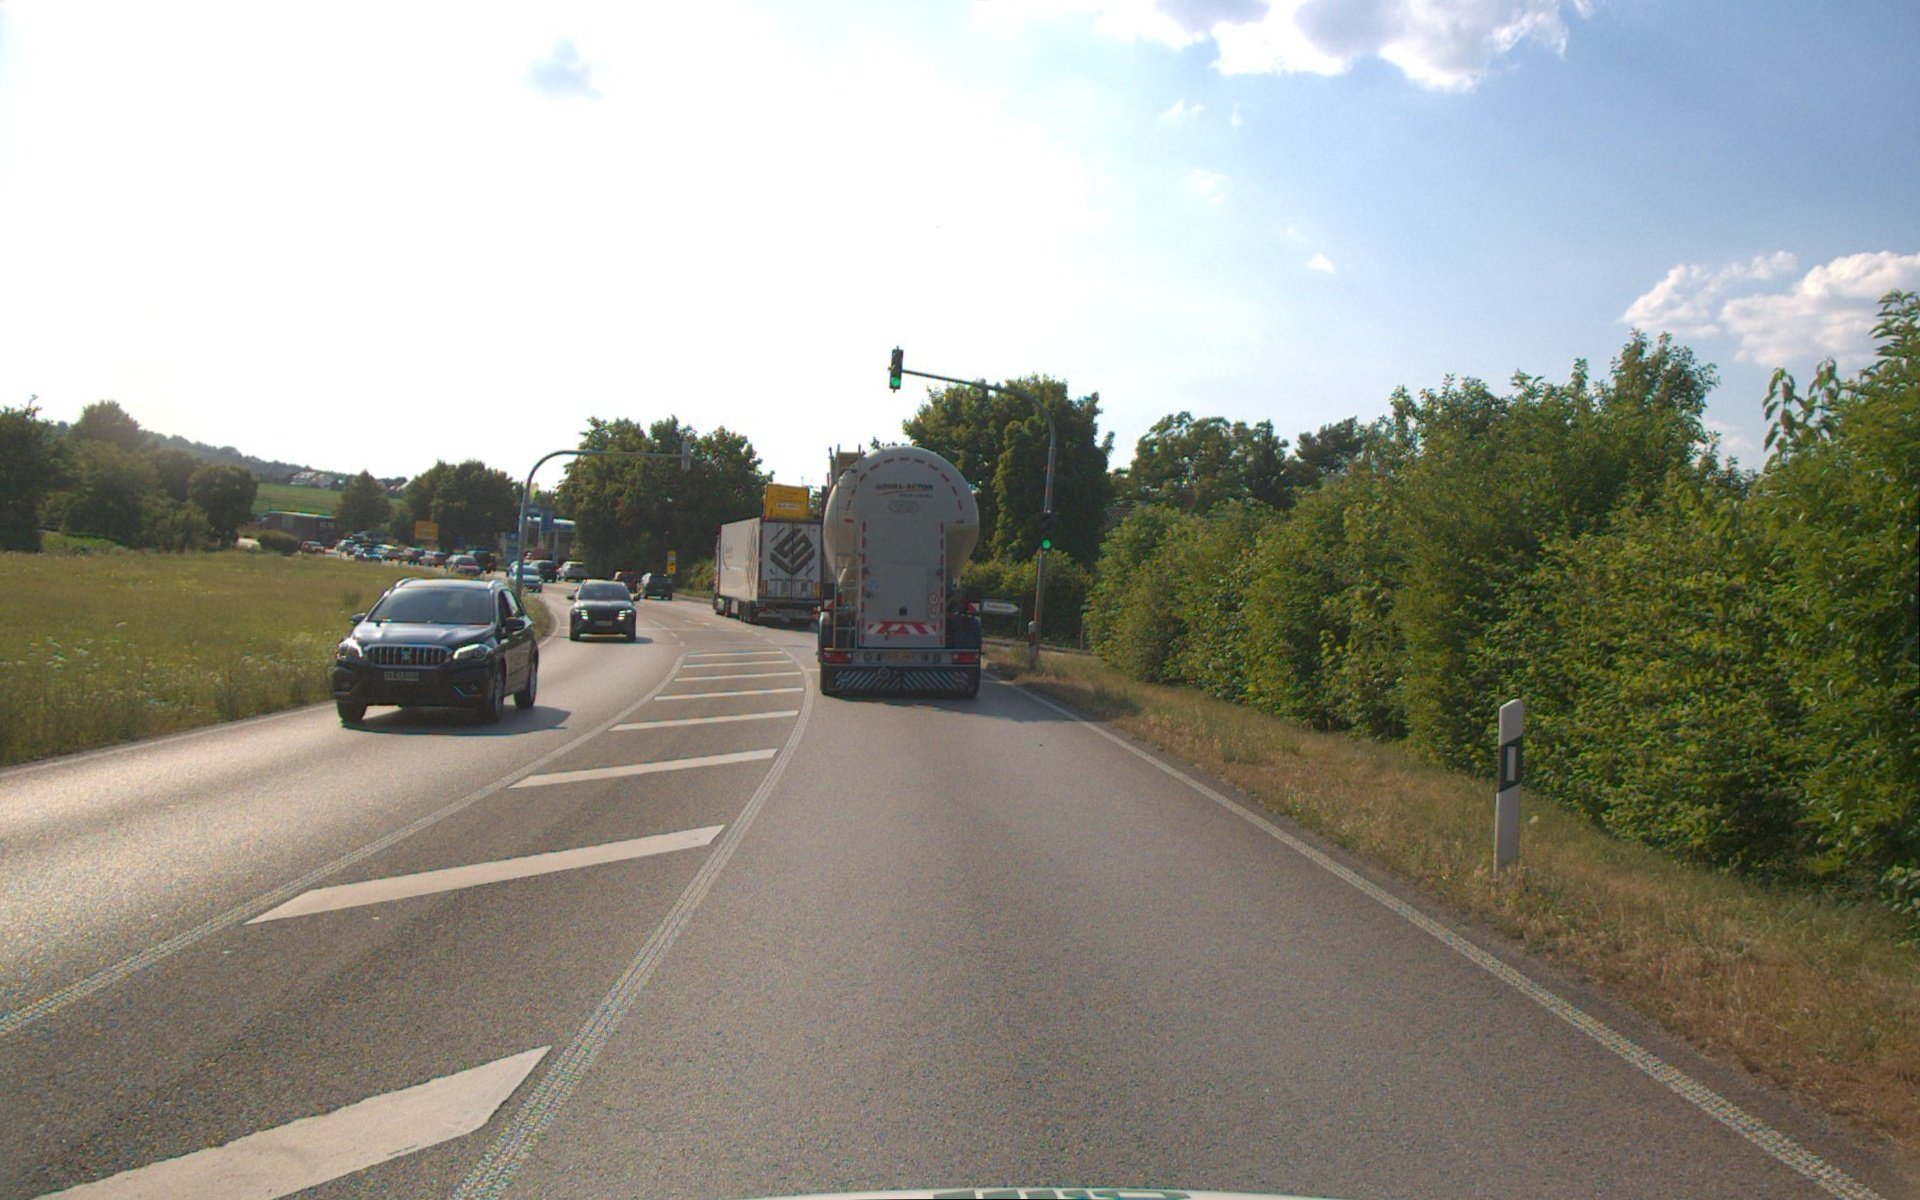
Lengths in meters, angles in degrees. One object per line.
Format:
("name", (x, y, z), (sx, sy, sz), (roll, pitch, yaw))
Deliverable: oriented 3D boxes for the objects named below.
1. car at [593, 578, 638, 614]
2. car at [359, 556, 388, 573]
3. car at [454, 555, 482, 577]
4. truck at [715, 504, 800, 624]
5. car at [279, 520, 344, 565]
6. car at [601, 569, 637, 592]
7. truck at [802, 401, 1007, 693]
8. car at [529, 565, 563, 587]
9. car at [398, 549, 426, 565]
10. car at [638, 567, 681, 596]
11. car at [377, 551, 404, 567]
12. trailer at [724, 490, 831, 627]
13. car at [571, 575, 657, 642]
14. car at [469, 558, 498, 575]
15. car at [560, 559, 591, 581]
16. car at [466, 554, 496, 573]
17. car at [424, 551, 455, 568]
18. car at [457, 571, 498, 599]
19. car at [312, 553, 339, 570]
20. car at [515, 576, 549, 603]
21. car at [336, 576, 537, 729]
("car", (-14.639, -0.155, 70.374), (1.688, 1.461, 3.741), (1, 0, -9))
("car", (-58.173, -3.532, 164.037), (1.863, 1.627, 3.957), (3, 0, -32))
("car", (-39.132, -2.729, 131.596), (1.854, 1.627, 3.977), (3, 0, -20))
("truck", (-9.042, -1.489, 73.225), (2.912, 4.972, 6.408), (2, -1, -13))
("car", (-78.032, -6.949, 198.928), (3.517, 5.147, 13.062), (3, 0, -38))
("car", (-24.403, -1.392, 118.375), (1.662, 1.493, 3.969), (3, -1, -24))
("truck", (-1.265, -0.694, 30.552), (2.917, 4.248, 11.650), (2, -1, -4))
("car", (-34.121, -1.992, 136.250), (1.859, 1.627, 3.967), (3, 0, -26))
("car", (-57.363, -4.509, 173.156), (1.864, 1.627, 3.955), (3, 0, -33))
("car", (-18.667, -1.135, 102.657), (1.963, 1.685, 3.978), (3, -1, -19))
("car", (-61.915, -4.420, 179.898), (1.864, 1.627, 3.956), (3, 0, -32))
("trailer", (-7.501, -1.473, 66.564), (2.913, 4.967, 10.252), (2, -1, -13))
("car", (-9.961, 0.205, 47.872), (1.955, 1.755, 4.420), (2, 1, -6))
("car", (-48.214, -3.377, 167.309), (1.863, 1.627, 3.958), (3, 0, -31))
("car", (-33.048, -2.554, 141.948), (1.817, 1.685, 3.969), (3, -1, -24))
("car", (-45.237, -3.438, 156.186), (1.861, 1.627, 3.961), (3, 0, -29))
("car", (-53.095, -4.143, 168.647), (1.865, 1.627, 3.953), (3, 0, -34))
("car", (-30.789, -0.951, 105.471), (1.858, 1.627, 3.969), (3, 0, -25))
("car", (-68.849, -4.172, 179.436), (1.865, 1.627, 3.953), (3, 0, -34))
("car", (-27.450, -0.688, 106.007), (1.852, 1.627, 3.980), (3, 0, -18))
("car", (-6.139, 0.597, 19.818), (1.663, 1.580, 4.142), (2, -1, -10))
